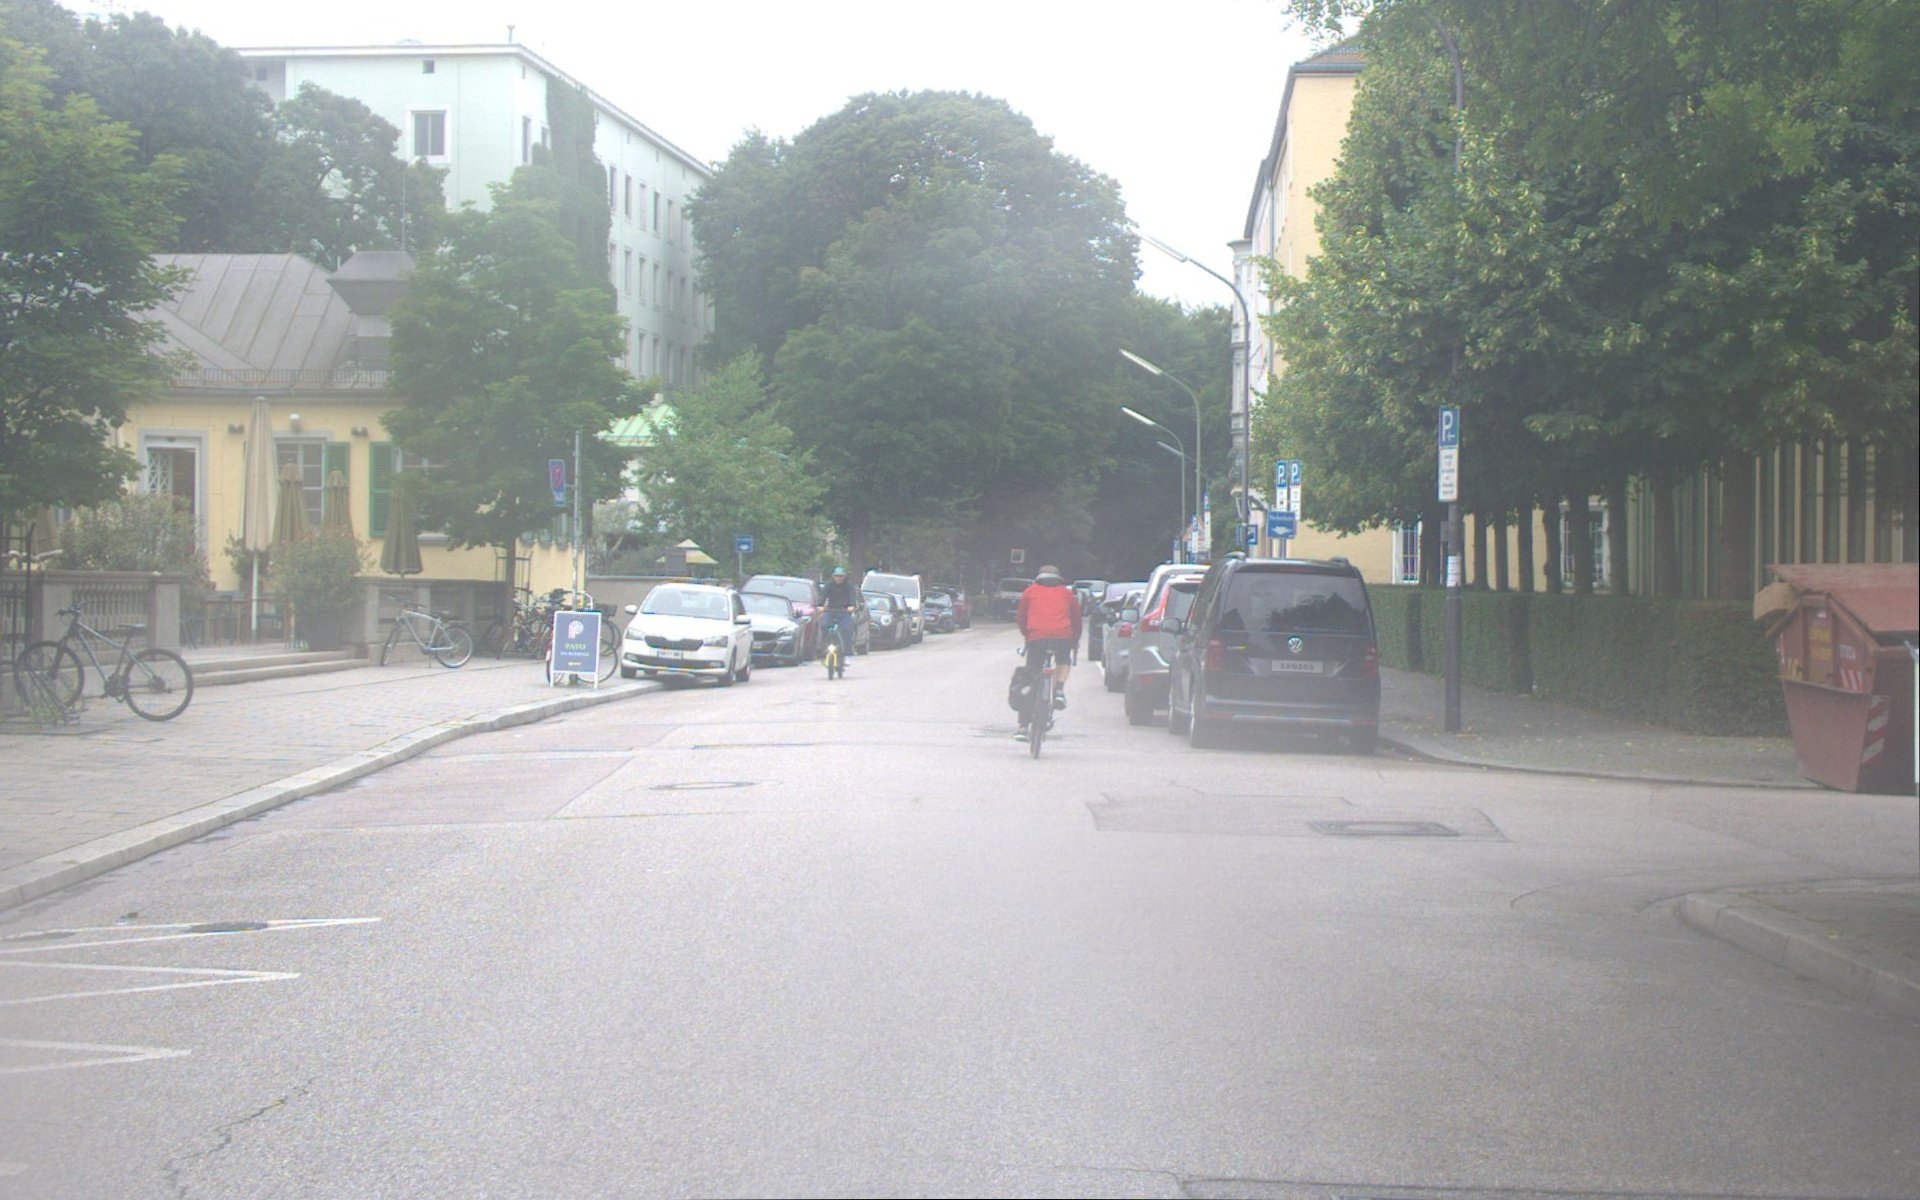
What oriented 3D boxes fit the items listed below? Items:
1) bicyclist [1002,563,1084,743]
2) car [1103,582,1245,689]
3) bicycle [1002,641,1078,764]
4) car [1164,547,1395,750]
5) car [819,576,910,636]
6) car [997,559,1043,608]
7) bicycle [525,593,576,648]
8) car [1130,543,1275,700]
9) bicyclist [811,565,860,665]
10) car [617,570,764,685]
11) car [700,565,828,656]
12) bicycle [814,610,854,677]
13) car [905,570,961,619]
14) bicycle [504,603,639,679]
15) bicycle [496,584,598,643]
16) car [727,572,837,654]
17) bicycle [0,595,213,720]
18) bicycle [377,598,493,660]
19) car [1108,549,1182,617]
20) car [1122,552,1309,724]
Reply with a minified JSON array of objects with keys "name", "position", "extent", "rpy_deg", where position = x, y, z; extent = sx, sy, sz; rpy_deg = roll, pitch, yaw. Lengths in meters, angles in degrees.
[{"name":"bicyclist","position":[0.700,0.449,29.183],"extent":[0.671,1.492,1.095],"rpy_deg":[0,-1,1]},{"name":"car","position":[3.070,0.484,50.118],"extent":[1.863,1.435,4.255],"rpy_deg":[1,0,1]},{"name":"bicycle","position":[0.686,0.855,29.239],"extent":[0.621,1.001,2.140],"rpy_deg":[0,-1,2]},{"name":"car","position":[3.050,0.419,33.552],"extent":[1.760,1.817,4.139],"rpy_deg":[1,1,-1]},{"name":"car","position":[-2.411,0.139,87.946],"extent":[1.994,1.481,4.000],"rpy_deg":[0,1,3]},{"name":"car","position":[2.749,-0.759,157.041],"extent":[1.993,2.091,4.000],"rpy_deg":[3,1,1]},{"name":"bicycle","position":[-7.630,0.395,64.091],"extent":[0.621,1.001,1.618],"rpy_deg":[1,-1,5]},{"name":"car","position":[3.101,0.241,44.583],"extent":[1.750,1.936,4.227],"rpy_deg":[0,1,2]},{"name":"bicyclist","position":[-1.981,0.227,54.819],"extent":[0.743,1.570,0.977],"rpy_deg":[0,1,-1]},{"name":"car","position":[-4.066,0.393,52.403],"extent":[1.734,1.576,3.787],"rpy_deg":[4,0,2]},{"name":"car","position":[-3.664,0.178,64.997],"extent":[1.993,1.643,4.655],"rpy_deg":[1,0,2]},{"name":"bicycle","position":[-2.010,0.684,54.845],"extent":[0.621,1.001,2.140],"rpy_deg":[0,1,-2]},{"name":"car","position":[-0.929,-0.203,119.307],"extent":[1.810,1.677,4.000],"rpy_deg":[0,1,1]},{"name":"bicycle","position":[-5.392,0.572,47.877],"extent":[0.623,1.001,2.136],"rpy_deg":[4,1,32]},{"name":"bicycle","position":[-7.077,0.236,58.902],"extent":[1.613,1.001,0.623],"rpy_deg":[1,-1,-32]},{"name":"car","position":[-3.612,0.268,70.209],"extent":[1.993,1.597,4.000],"rpy_deg":[1,0,0]},{"name":"bicycle","position":[-8.218,0.544,32.955],"extent":[1.930,1.095,0.615],"rpy_deg":[3,0,2]},{"name":"bicycle","position":[-7.947,0.450,52.074],"extent":[1.613,0.922,0.651],"rpy_deg":[1,-1,-25]},{"name":"car","position":[5.770,-0.533,107.554],"extent":[1.993,2.053,4.624],"rpy_deg":[1,1,-1]},{"name":"car","position":[2.790,0.374,38.374],"extent":[1.863,1.788,4.509],"rpy_deg":[0,1,2]}]
